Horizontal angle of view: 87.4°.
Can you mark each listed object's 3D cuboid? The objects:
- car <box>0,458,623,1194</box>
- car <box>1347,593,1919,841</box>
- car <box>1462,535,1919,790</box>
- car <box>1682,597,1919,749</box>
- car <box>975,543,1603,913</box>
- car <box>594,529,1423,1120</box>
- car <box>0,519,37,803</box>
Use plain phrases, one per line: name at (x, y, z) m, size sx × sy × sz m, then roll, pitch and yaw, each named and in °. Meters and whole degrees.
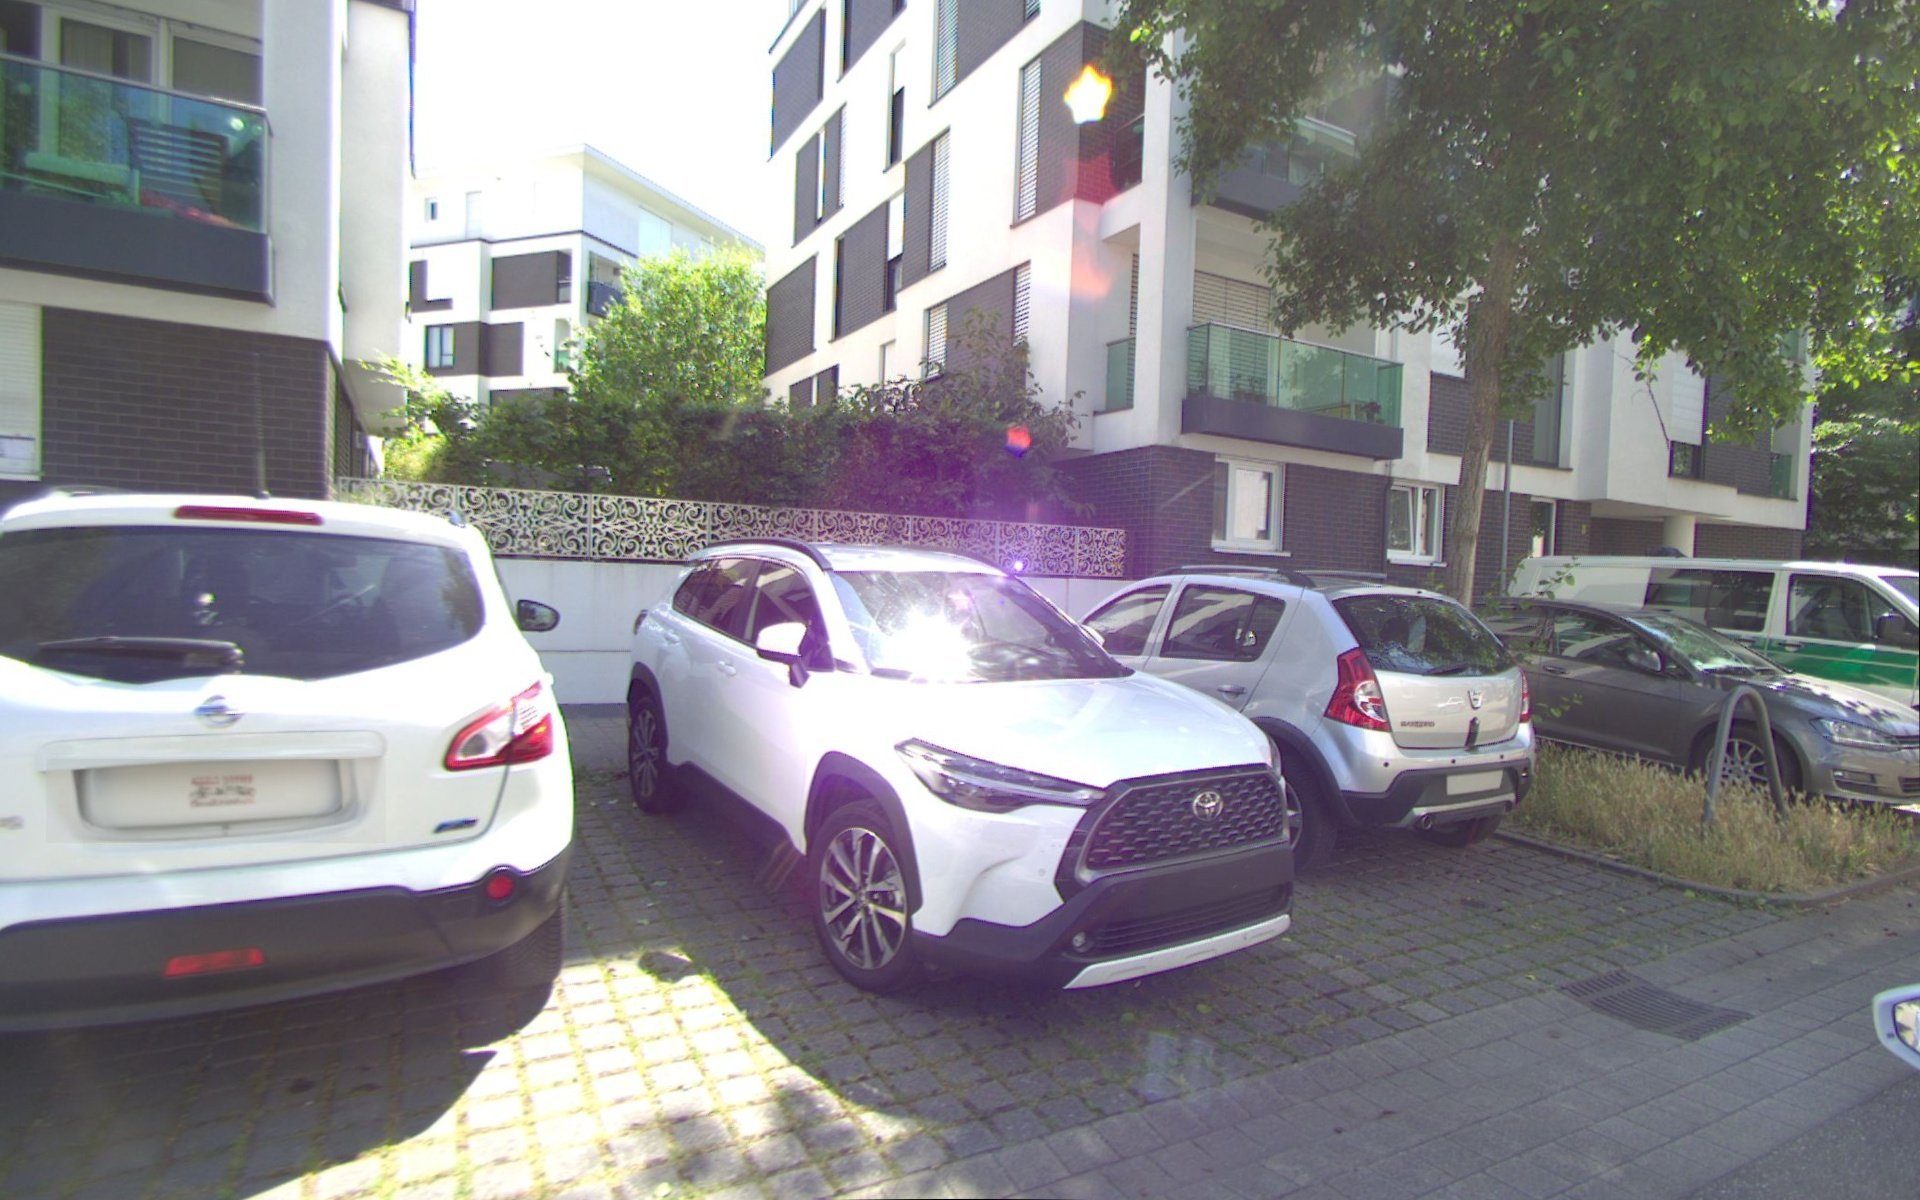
car at (-2.704, 0.406, 4.156) m, size 1.924 × 1.651 × 3.965 m, roll 2°, pitch 3°, yaw -27°
car at (5.930, 0.761, 8.878) m, size 1.977 × 1.509 × 4.398 m, roll 1°, pitch 1°, yaw -30°
car at (8.311, 0.505, 10.386) m, size 2.159 × 2.139 × 5.322 m, roll 1°, pitch 1°, yaw -27°
car at (10.798, 0.835, 11.573) m, size 1.658 × 1.501 × 3.606 m, roll 1°, pitch 3°, yaw -29°
car at (1.831, 0.529, 6.711) m, size 1.830 × 1.698 × 3.662 m, roll 1°, pitch 3°, yaw -29°
car at (-0.316, 0.514, 5.202) m, size 1.946 × 1.615 × 4.529 m, roll 1°, pitch 3°, yaw -34°
car at (-4.896, 0.420, 3.132) m, size 1.806 × 1.476 × 4.829 m, roll 2°, pitch 3°, yaw -28°
